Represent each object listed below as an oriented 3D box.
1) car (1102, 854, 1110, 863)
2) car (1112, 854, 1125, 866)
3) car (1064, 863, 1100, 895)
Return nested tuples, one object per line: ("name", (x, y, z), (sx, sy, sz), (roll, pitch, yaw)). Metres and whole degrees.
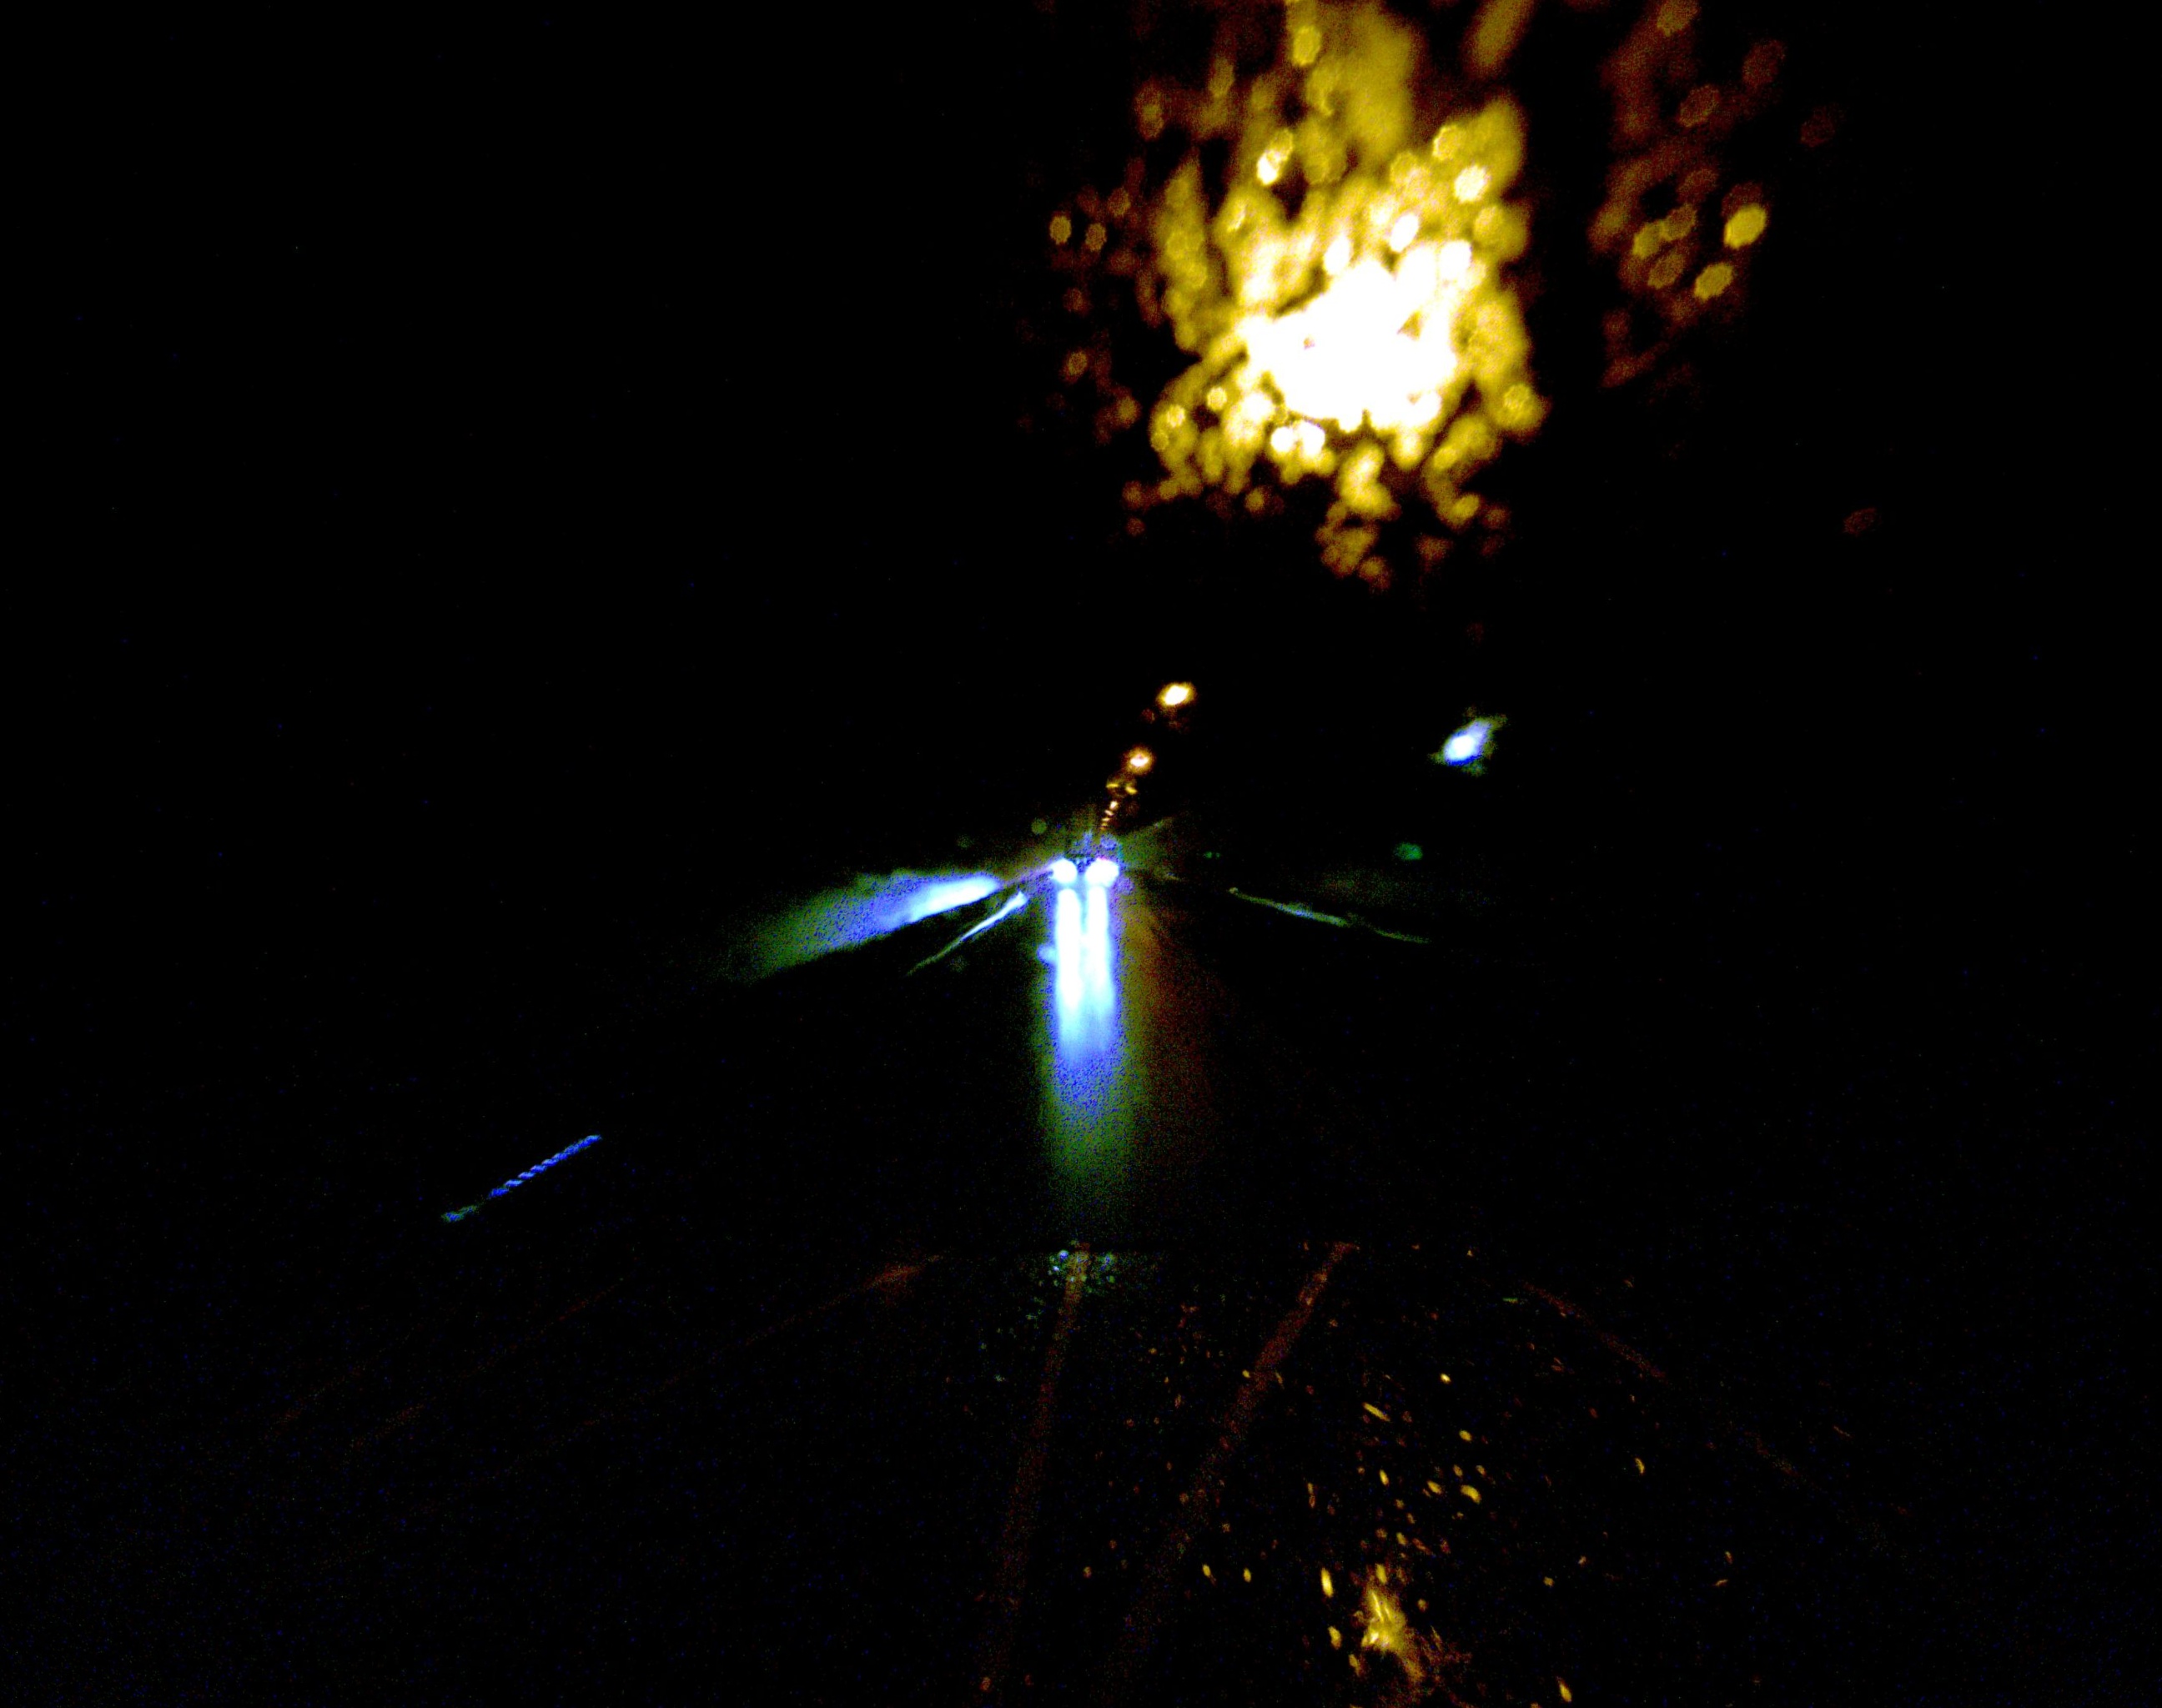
("car", (5.461, 0.948, 164.832), (1.765, 1.888, 4.609), (-1, 0, 2))
("car", (4.811, 0.751, 97.950), (1.639, 1.526, 3.646), (-1, 0, 2))
("car", (0.083, 1.216, 37.681), (1.627, 1.487, 3.585), (-1, 0, 2))
